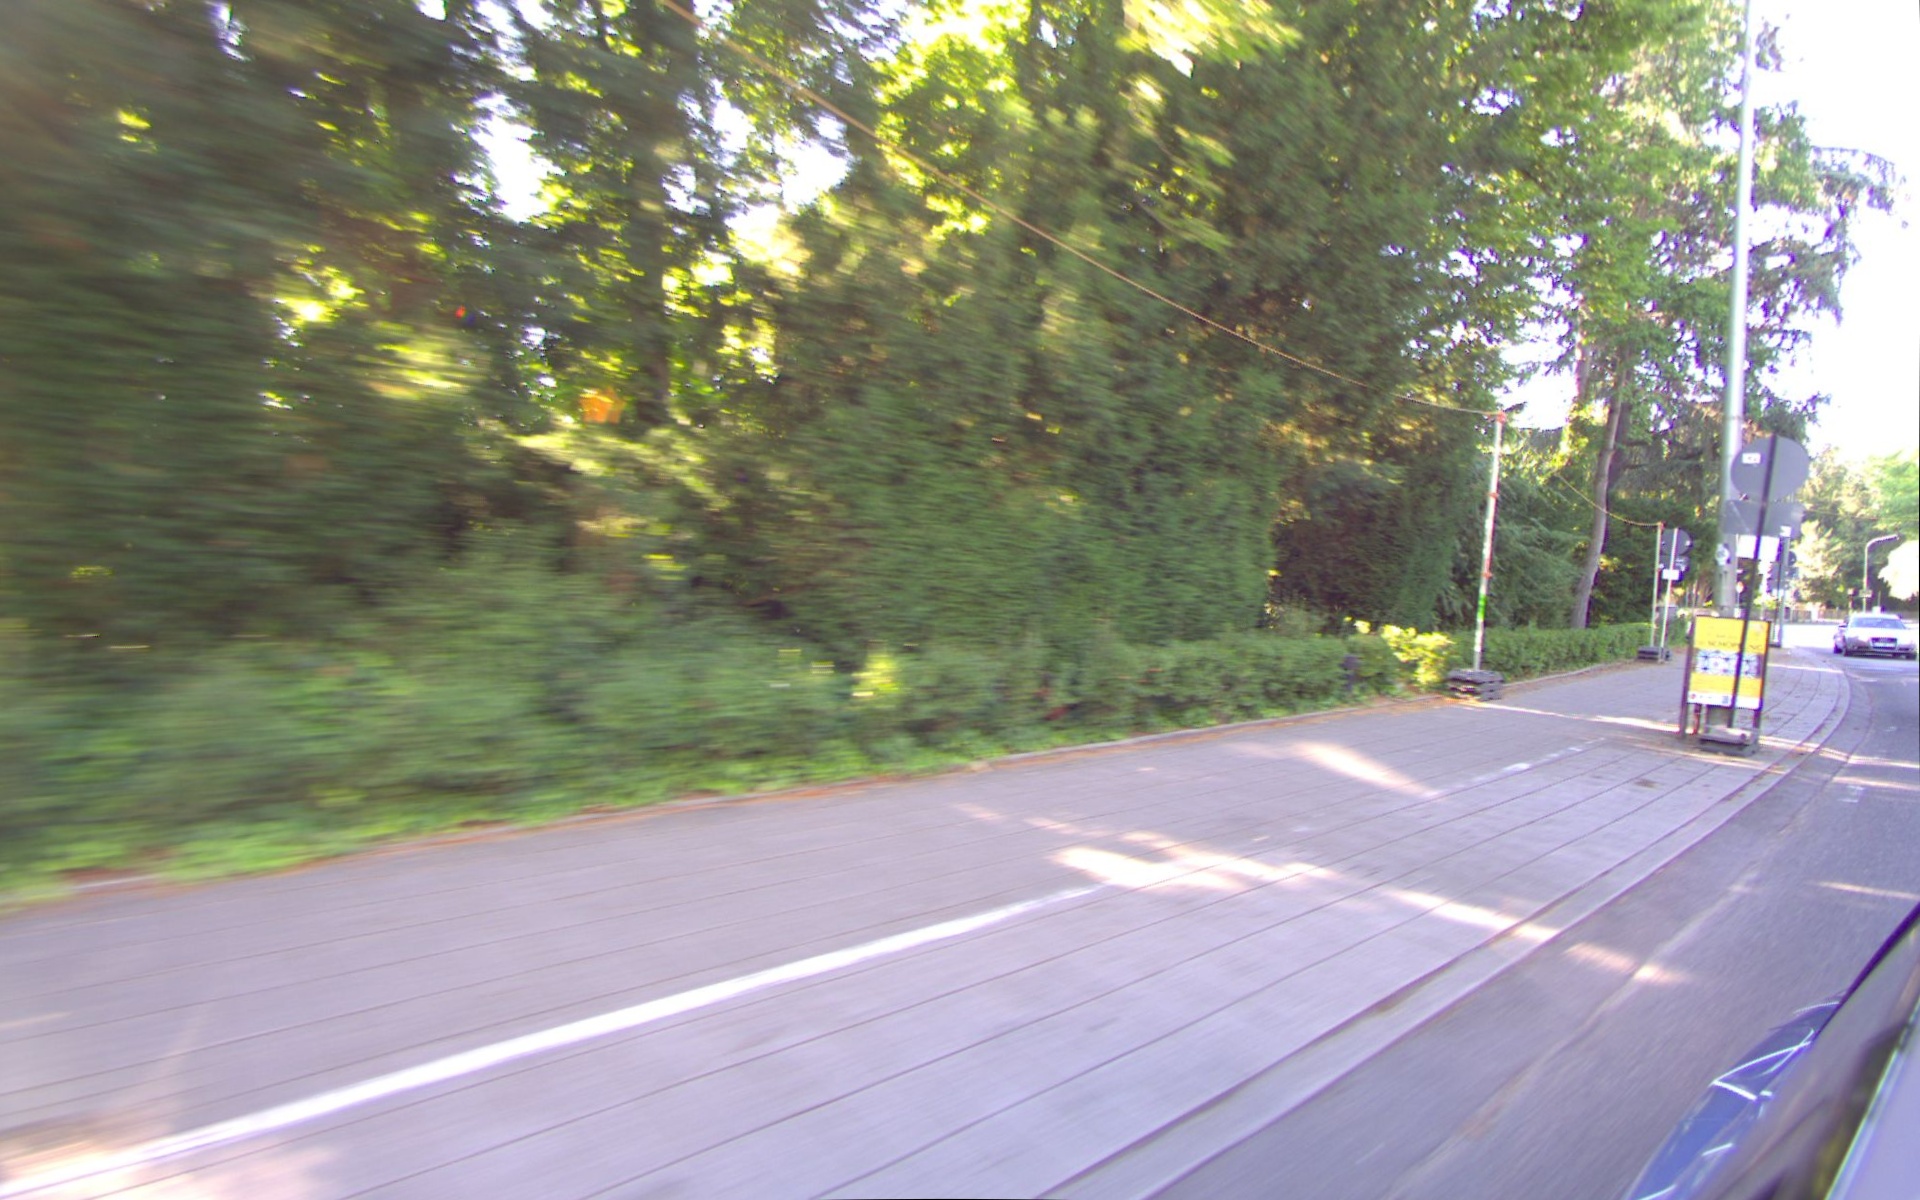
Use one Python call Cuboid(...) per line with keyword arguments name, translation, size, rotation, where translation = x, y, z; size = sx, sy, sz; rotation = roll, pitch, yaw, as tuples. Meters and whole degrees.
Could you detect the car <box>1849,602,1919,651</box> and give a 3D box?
Cuboid(name="car", translation=(31.300, 0.861, 34.136), size=(1.654, 1.495, 3.633), rotation=(2, 1, 37))
